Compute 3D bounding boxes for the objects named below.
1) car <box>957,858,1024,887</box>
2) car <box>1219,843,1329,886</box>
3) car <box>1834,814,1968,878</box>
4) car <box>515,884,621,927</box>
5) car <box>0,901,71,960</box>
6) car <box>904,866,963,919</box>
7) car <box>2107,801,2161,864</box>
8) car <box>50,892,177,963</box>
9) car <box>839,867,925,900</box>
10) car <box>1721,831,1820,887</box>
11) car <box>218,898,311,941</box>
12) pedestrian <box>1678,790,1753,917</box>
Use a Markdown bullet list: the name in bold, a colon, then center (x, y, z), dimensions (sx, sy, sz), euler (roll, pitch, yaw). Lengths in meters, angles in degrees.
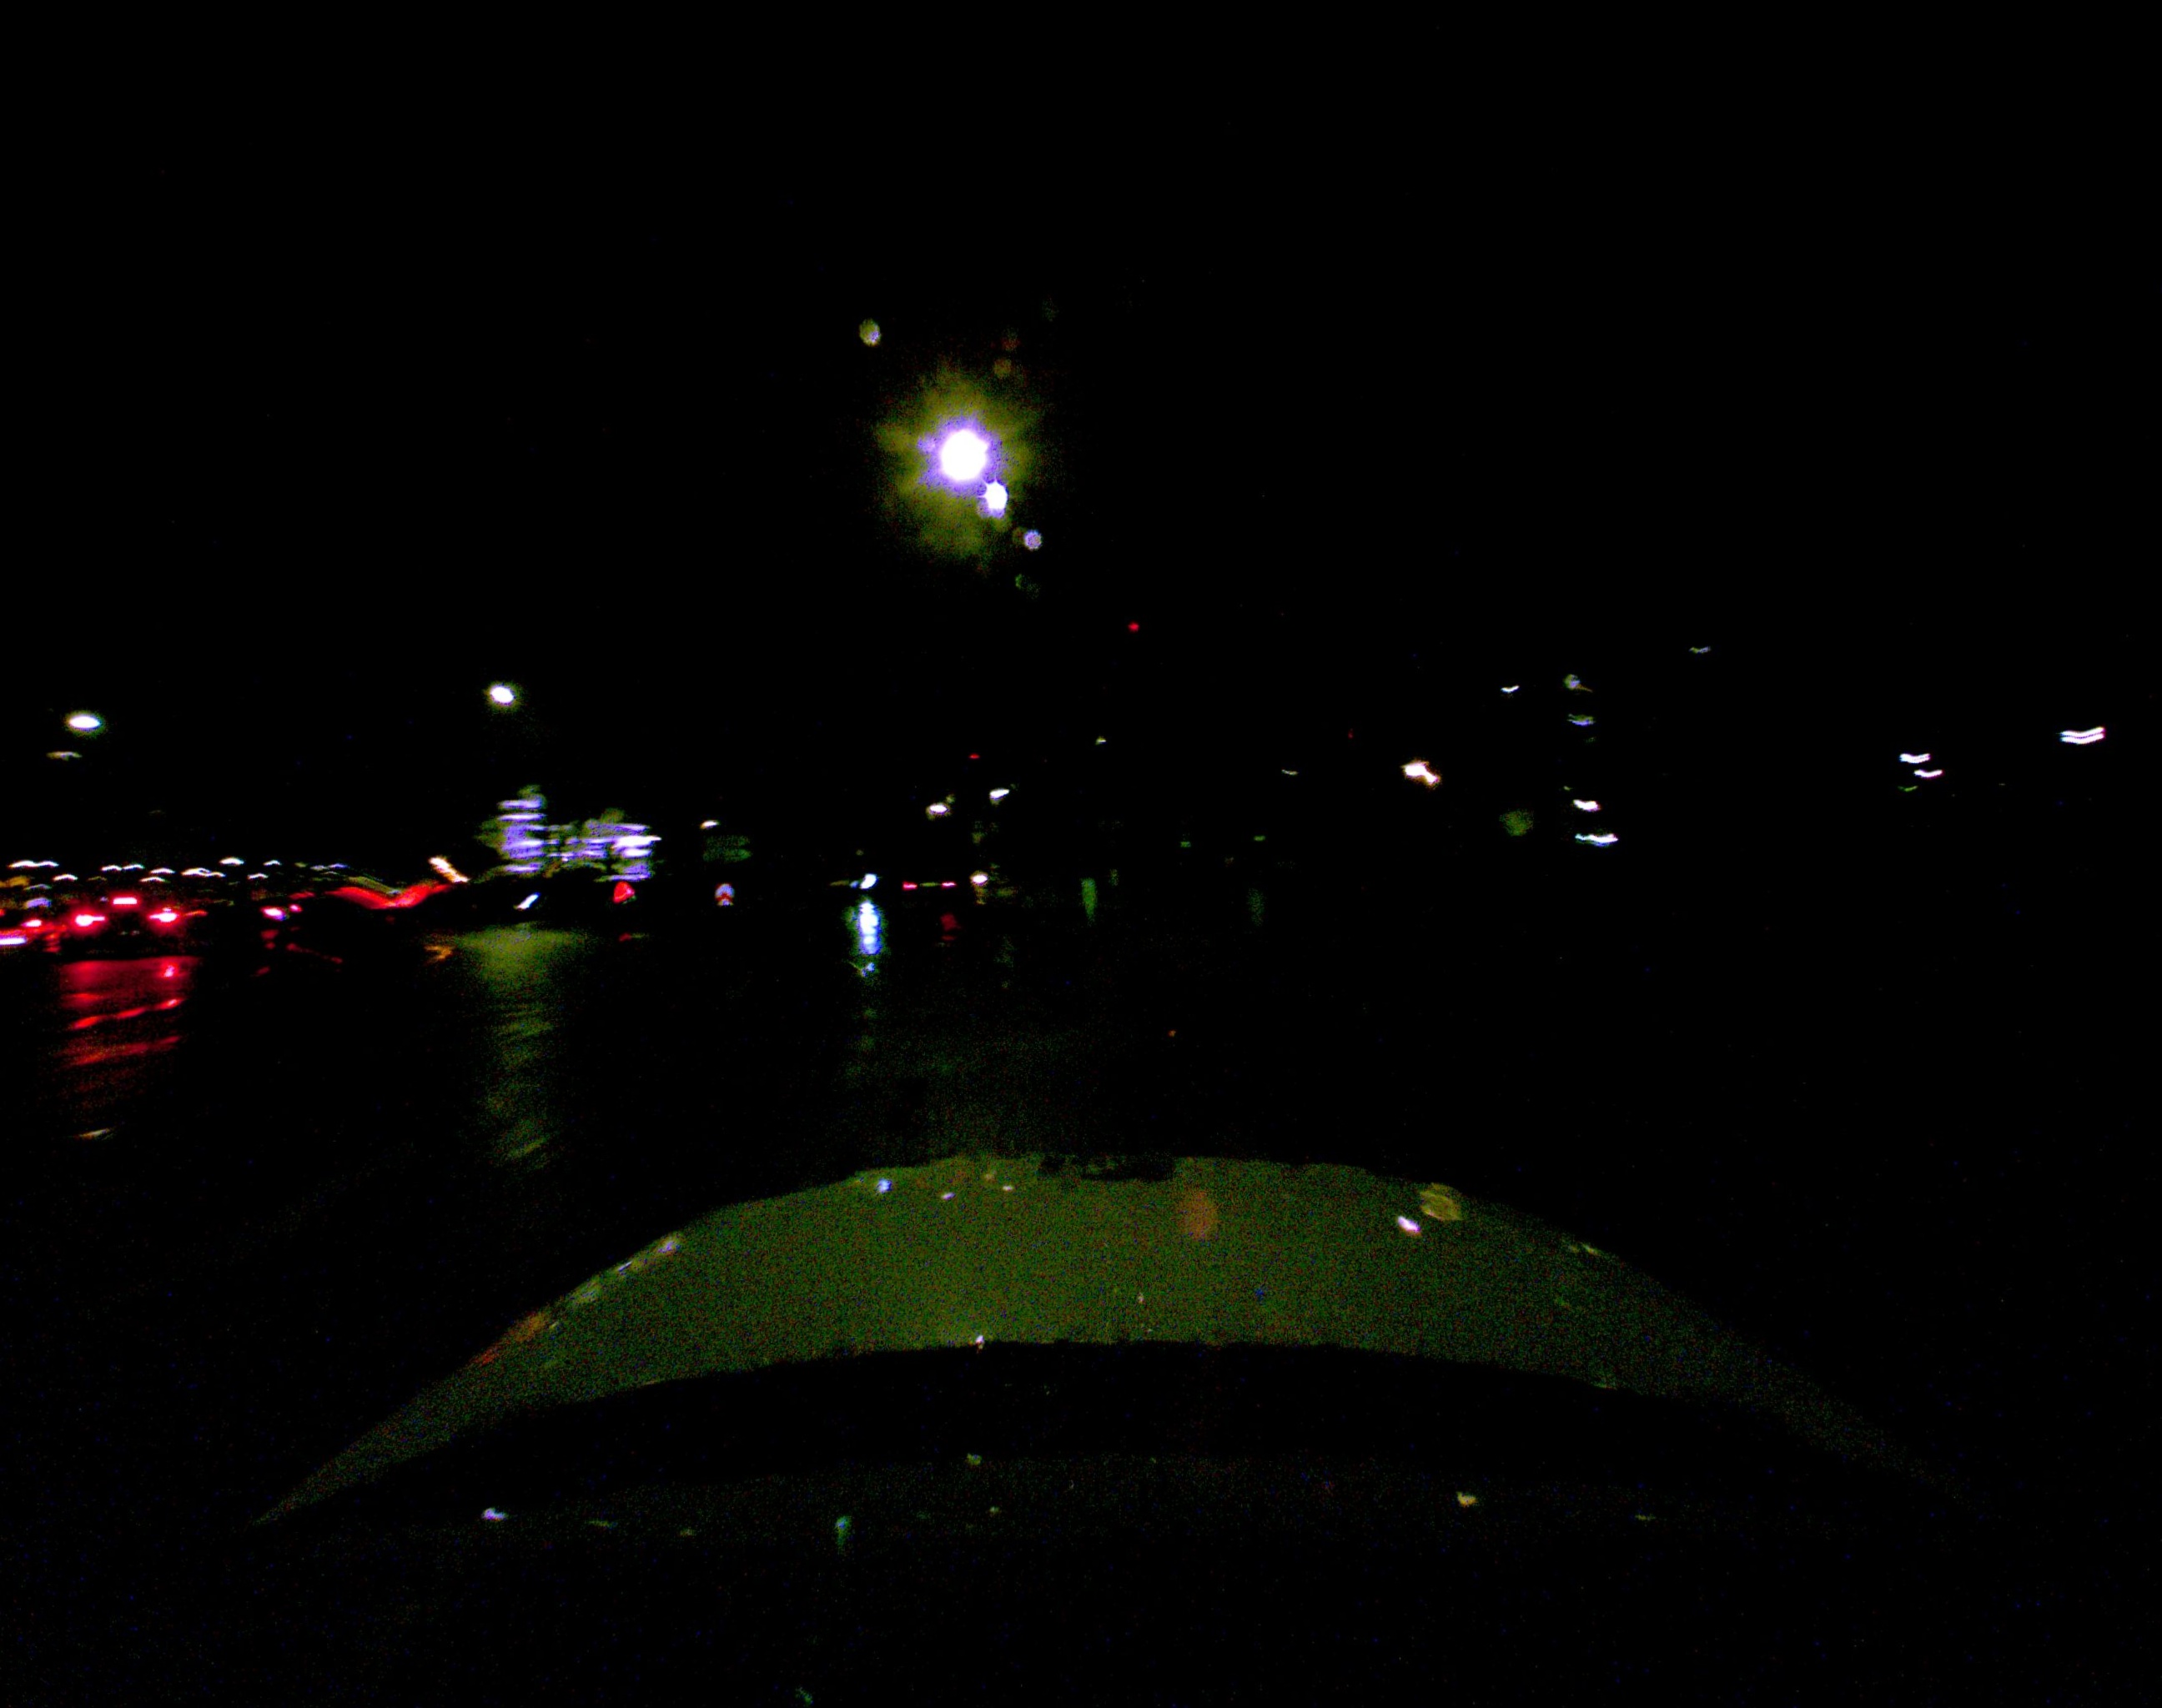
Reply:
- **car**: center (-6.210, 1.261, 56.137), dimensions (1.854, 1.758, 4.421), euler (-2, 0, 42)
- **car**: center (7.975, 0.439, 33.809), dimensions (3.949, 1.684, 1.930), euler (-2, 0, 42)
- **car**: center (22.161, -0.139, 22.181), dimensions (1.699, 1.497, 3.936), euler (-3, -4, 33)
- **car**: center (-23.522, 2.301, 37.378), dimensions (3.911, 1.640, 1.842), euler (-2, 0, -40)
- **car**: center (-32.397, 2.249, 23.810), dimensions (3.928, 1.578, 1.882), euler (-2, 0, 9)
- **car**: center (-6.279, 1.574, 35.146), dimensions (1.990, 2.013, 4.550), euler (-2, 0, -5)
- **car**: center (26.706, -0.540, 19.348), dimensions (1.699, 1.496, 3.937), euler (-2, 0, 33)
- **car**: center (-25.400, 1.849, 21.354), dimensions (3.913, 1.578, 1.748), euler (-2, 0, 34)
- **car**: center (-11.975, 1.725, 49.221), dimensions (1.975, 1.736, 4.647), euler (-2, 0, 45)
- **car**: center (20.315, 0.114, 24.156), dimensions (1.699, 1.496, 3.937), euler (-2, 0, 33)
- **car**: center (-34.096, 2.685, 34.000), dimensions (3.949, 1.583, 1.606), euler (-2, 0, 27)
- **pedestrian**: center (9.818, -0.008, 12.632), dimensions (0.647, 1.901, 0.732), euler (-2, 0, 16)
